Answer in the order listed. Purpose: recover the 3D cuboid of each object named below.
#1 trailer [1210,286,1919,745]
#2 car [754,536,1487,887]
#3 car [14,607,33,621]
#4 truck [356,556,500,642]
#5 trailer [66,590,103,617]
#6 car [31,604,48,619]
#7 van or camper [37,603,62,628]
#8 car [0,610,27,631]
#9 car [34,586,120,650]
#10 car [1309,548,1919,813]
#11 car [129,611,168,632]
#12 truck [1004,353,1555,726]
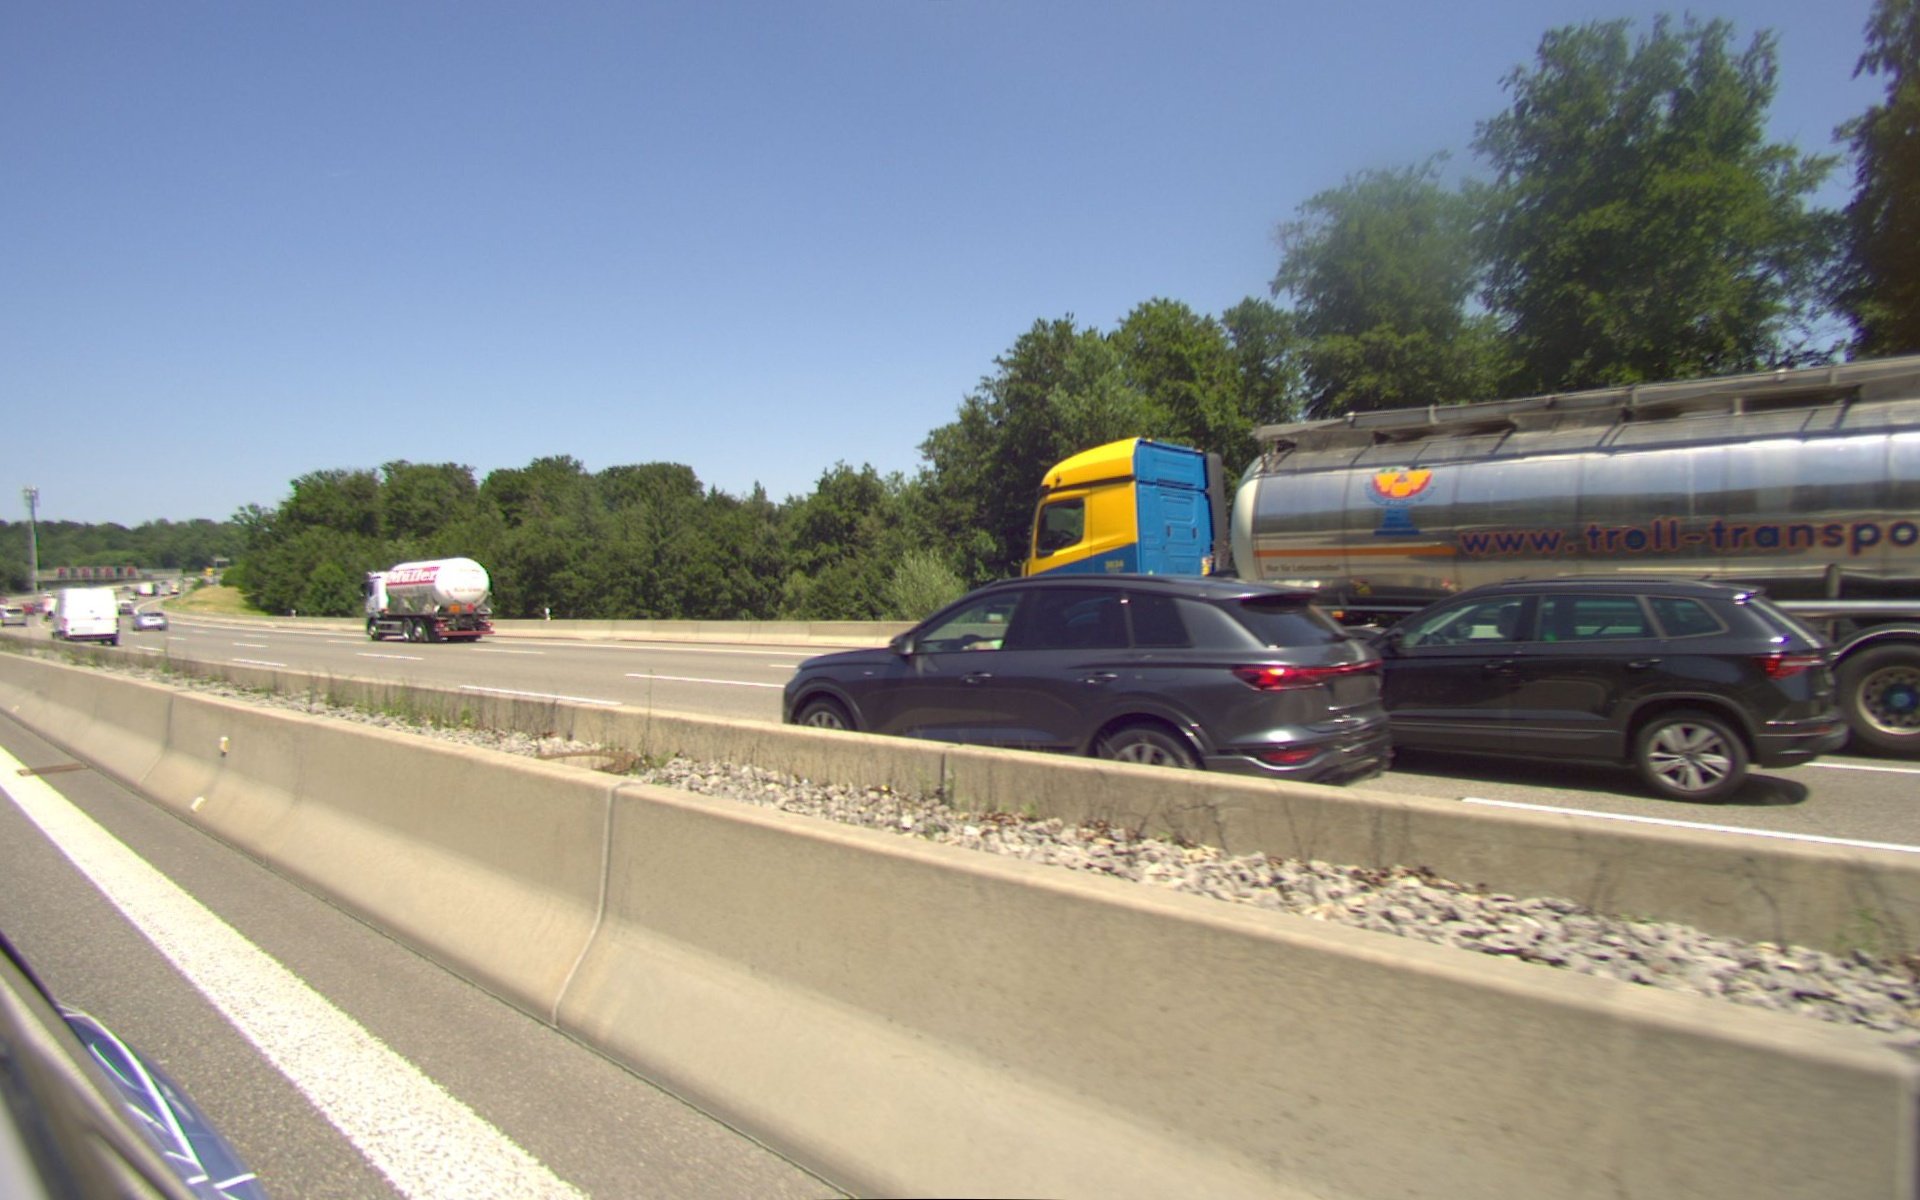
[{"bbox_3d":[8.424,-0.716,10.089,11.691,3.910,2.511,-1,0,42],"label":"trailer"},{"bbox_3d":[0.849,0.573,7.329,4.950,1.718,1.973,-1,0,41],"label":"car"},{"bbox_3d":[-139.759,2.059,151.000,1.885,1.997,4.643,-2,2,-45],"label":"car"},{"bbox_3d":[-24.262,-0.050,45.819,9.881,3.491,2.582,0,1,43],"label":"truck"},{"bbox_3d":[-149.970,0.597,173.250,3.792,4.312,14.486,-2,1,-44],"label":"trailer"},{"bbox_3d":[-152.978,1.935,168.233,1.970,2.318,4.596,-2,3,-44],"label":"car"},{"bbox_3d":[-107.165,1.829,119.062,1.970,2.821,7.420,-1,0,-44],"label":"van or camper"},{"bbox_3d":[-89.870,1.937,95.932,4.588,1.885,1.799,-1,0,43],"label":"car"},{"bbox_3d":[-40.367,0.855,46.217,6.305,2.709,2.076,-2,0,41],"label":"car"},{"bbox_3d":[5.167,0.525,8.220,4.059,1.656,1.701,-1,0,42],"label":"car"},{"bbox_3d":[-61.788,1.618,77.003,4.495,1.493,1.744,-1,1,44],"label":"car"},{"bbox_3d":[4.057,-0.613,13.971,6.798,3.970,2.504,-1,0,41],"label":"truck"}]
